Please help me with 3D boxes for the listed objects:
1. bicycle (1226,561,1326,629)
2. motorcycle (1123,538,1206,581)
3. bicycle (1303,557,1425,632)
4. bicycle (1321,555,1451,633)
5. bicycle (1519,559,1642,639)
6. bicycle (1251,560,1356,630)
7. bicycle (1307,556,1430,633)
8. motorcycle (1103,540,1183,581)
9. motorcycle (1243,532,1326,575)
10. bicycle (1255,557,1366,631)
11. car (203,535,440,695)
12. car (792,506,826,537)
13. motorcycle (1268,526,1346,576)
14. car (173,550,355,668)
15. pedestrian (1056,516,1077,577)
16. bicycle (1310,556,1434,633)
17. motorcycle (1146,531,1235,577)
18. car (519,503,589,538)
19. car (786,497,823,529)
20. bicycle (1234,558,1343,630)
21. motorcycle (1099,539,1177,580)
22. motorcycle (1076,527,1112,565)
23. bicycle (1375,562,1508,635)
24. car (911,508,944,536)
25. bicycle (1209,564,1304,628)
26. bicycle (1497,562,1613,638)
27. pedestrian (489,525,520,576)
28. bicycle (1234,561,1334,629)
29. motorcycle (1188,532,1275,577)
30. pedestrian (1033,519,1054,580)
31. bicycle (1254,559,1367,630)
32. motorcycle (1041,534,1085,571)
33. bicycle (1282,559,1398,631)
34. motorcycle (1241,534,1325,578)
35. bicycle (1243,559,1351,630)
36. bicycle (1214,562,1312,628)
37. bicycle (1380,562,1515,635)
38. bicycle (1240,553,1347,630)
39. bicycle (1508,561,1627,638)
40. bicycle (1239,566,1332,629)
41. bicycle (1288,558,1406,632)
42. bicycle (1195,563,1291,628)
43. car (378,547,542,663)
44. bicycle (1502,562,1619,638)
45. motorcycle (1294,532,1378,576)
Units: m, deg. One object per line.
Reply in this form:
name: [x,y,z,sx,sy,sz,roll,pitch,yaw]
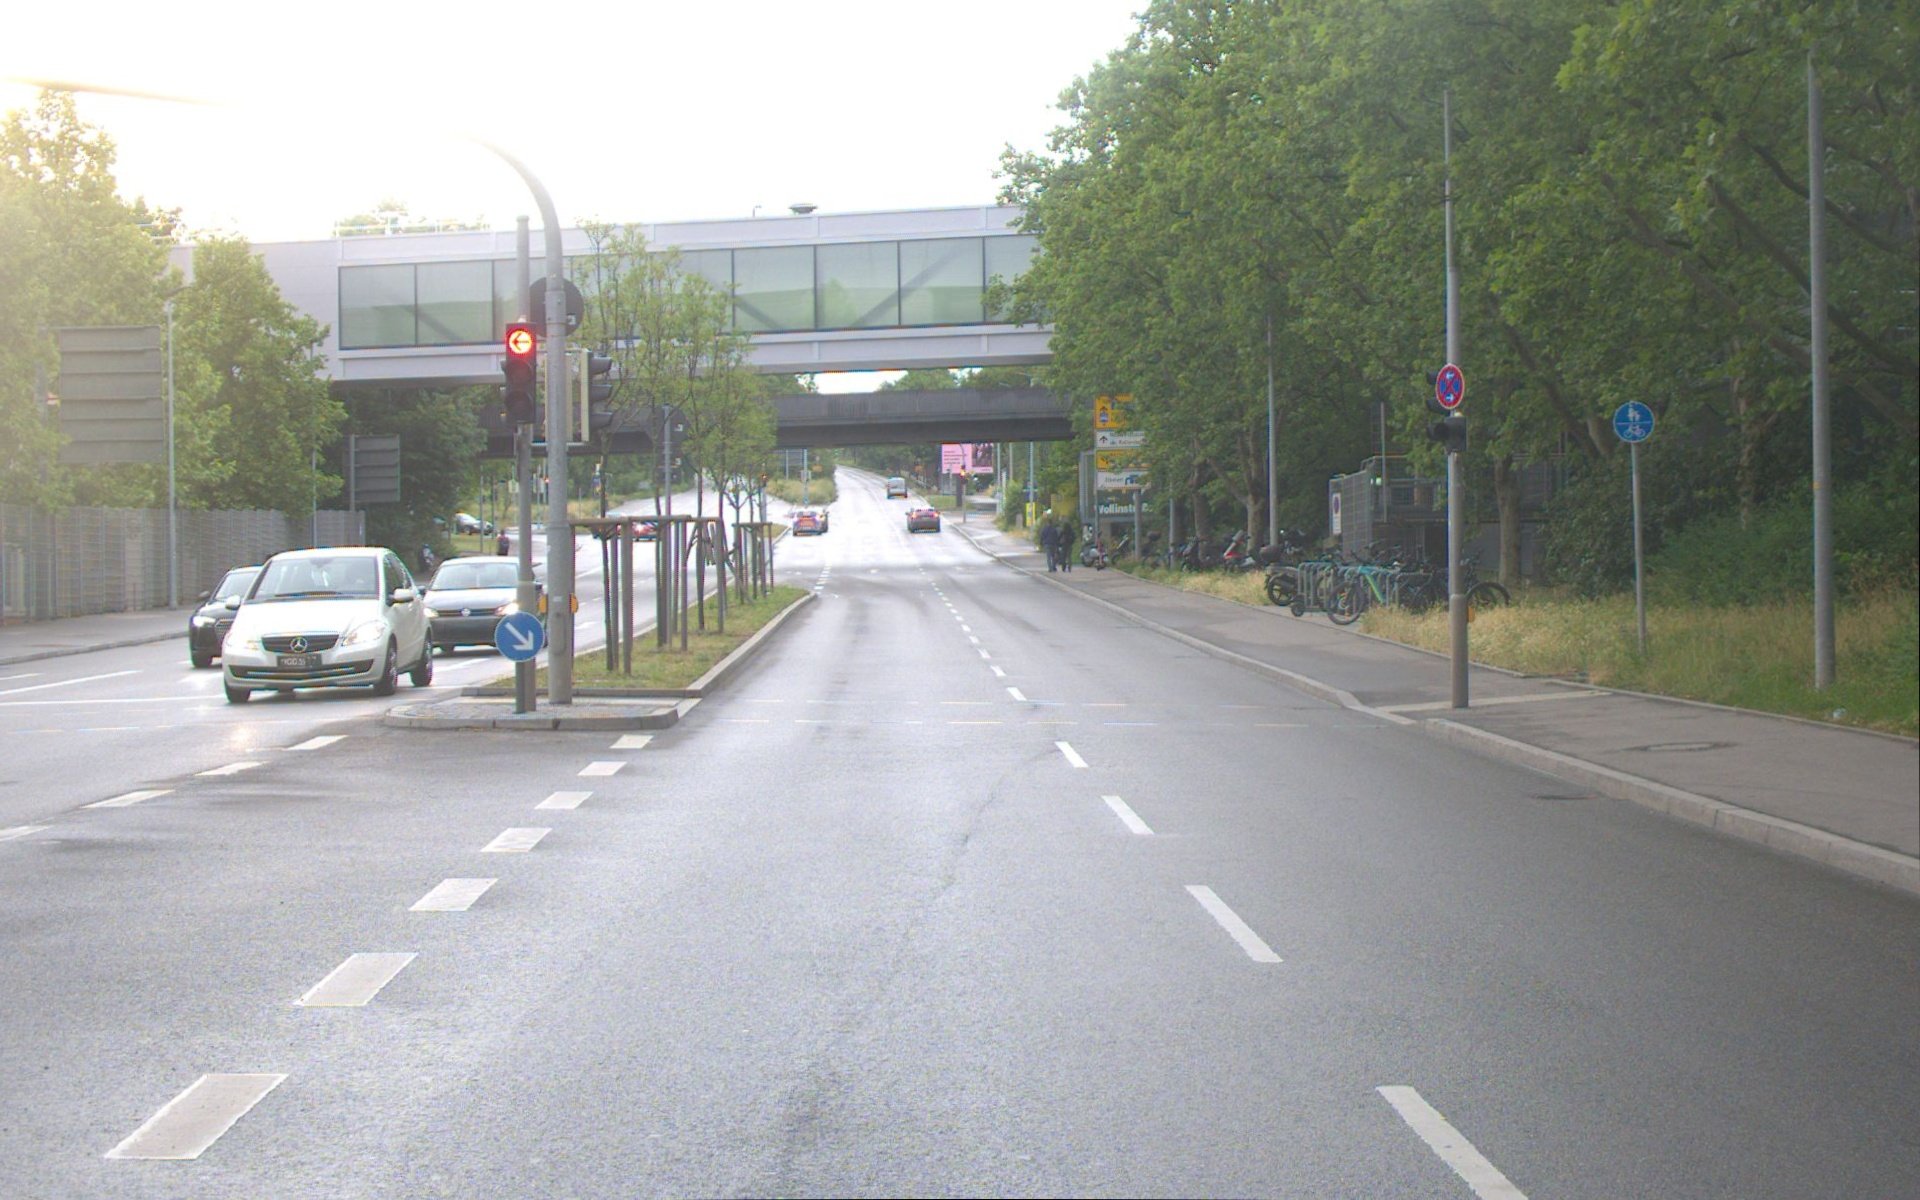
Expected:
bicycle: [6.504,-0.100,70.750,1.963,1.324,0.654,2,0,0]
motorcycle: [6.027,-1.180,101.238,2.369,1.198,0.722,-1,1,7]
bicycle: [6.931,-0.092,58.986,1.990,1.237,0.541,2,0,0]
bicycle: [6.882,-0.095,55.583,1.990,1.212,0.541,2,0,0]
bicycle: [10.737,-0.016,59.548,1.990,1.324,0.576,2,0,0]
bicycle: [6.809,-0.102,68.111,1.990,1.324,0.576,2,0,0]
bicycle: [6.930,-0.095,58.396,1.990,1.237,0.541,2,0,0]
motorcycle: [5.631,-1.225,105.678,2.369,1.198,0.722,-1,1,7]
motorcycle: [9.524,-1.376,100.915,2.369,1.198,0.722,-1,1,7]
bicycle: [6.598,-0.109,64.771,1.990,1.324,0.576,2,0,0]
car: [-6.875,0.130,37.374,1.877,1.619,3.779,-1,1,0]
car: [-9.254,-4.804,210.870,1.884,1.756,3.969,2,0,0]
motorcycle: [10.781,-1.526,106.756,2.369,1.471,0.722,-1,1,7]
car: [-10.096,0.094,50.119,1.877,1.619,3.779,-1,1,0]
pedestrian: [3.539,-1.781,114.583,0.622,2.007,0.605,-2,1,0]
bicycle: [6.923,-0.093,57.800,1.990,1.229,0.541,2,0,0]
motorcycle: [6.348,-1.257,94.445,2.369,1.198,0.722,-1,1,7]
car: [-24.020,-4.690,203.315,1.994,2.007,3.998,2,0,-44]
car: [-9.313,-5.193,206.342,1.993,1.756,4.000,2,0,0]
bicycle: [6.265,-0.115,65.580,1.990,1.324,0.576,2,0,0]
motorcycle: [5.573,-1.262,107.554,2.369,1.198,0.792,-1,1,7]
motorcycle: [4.742,-1.904,121.894,0.790,1.307,2.377,-2,1,-9]
bicycle: [7.581,-0.021,54.124,1.990,1.091,0.541,2,0,0]
car: [-1.900,-4.571,202.583,1.875,1.492,4.068,2,0,0]
bicycle: [6.383,-0.090,74.070,1.963,1.324,0.654,2,0,0]
bicycle: [10.883,0.002,62.954,1.990,1.324,0.576,2,0,0]
pedestrian: [-18.341,-1.984,138.437,0.872,1.998,0.855,3,-2,-32]
bicycle: [6.599,-0.100,70.060,1.960,1.324,0.576,2,0,0]
motorcycle: [7.613,-1.265,96.499,2.369,1.198,0.722,-1,1,7]
pedestrian: [2.781,-1.692,114.597,0.622,2.007,0.605,-2,1,0]
bicycle: [6.389,-0.092,62.700,1.990,1.237,0.541,2,0,0]
motorcycle: [3.725,-1.724,125.092,0.790,1.307,2.377,-2,1,-19]
bicycle: [6.794,-0.086,61.491,1.990,1.237,0.541,2,0,0]
motorcycle: [9.400,-1.286,99.991,2.369,1.198,0.722,-1,1,7]
bicycle: [6.514,-0.105,66.524,1.990,1.324,0.576,2,0,0]
bicycle: [6.366,-0.097,72.352,1.963,1.324,0.654,2,0,0]
bicycle: [7.587,-0.023,53.556,1.990,1.091,0.541,2,0,0]
bicycle: [6.518,-0.164,67.257,1.990,1.425,0.723,2,0,0]
bicycle: [10.884,-0.003,61.640,1.990,1.324,0.576,2,0,0]
bicycle: [7.152,-0.062,75.573,1.963,1.324,0.654,2,0,0]
bicycle: [6.809,-0.089,60.542,1.990,1.237,0.541,2,0,0]
bicycle: [6.025,-0.103,73.265,1.963,1.324,0.654,2,0,0]
car: [-7.399,0.043,51.182,1.877,1.619,3.779,-1,1,0]
bicycle: [10.877,0.000,62.306,1.990,1.324,0.576,2,0,0]
motorcycle: [10.791,-1.329,98.633,2.369,1.198,0.722,-1,1,7]
